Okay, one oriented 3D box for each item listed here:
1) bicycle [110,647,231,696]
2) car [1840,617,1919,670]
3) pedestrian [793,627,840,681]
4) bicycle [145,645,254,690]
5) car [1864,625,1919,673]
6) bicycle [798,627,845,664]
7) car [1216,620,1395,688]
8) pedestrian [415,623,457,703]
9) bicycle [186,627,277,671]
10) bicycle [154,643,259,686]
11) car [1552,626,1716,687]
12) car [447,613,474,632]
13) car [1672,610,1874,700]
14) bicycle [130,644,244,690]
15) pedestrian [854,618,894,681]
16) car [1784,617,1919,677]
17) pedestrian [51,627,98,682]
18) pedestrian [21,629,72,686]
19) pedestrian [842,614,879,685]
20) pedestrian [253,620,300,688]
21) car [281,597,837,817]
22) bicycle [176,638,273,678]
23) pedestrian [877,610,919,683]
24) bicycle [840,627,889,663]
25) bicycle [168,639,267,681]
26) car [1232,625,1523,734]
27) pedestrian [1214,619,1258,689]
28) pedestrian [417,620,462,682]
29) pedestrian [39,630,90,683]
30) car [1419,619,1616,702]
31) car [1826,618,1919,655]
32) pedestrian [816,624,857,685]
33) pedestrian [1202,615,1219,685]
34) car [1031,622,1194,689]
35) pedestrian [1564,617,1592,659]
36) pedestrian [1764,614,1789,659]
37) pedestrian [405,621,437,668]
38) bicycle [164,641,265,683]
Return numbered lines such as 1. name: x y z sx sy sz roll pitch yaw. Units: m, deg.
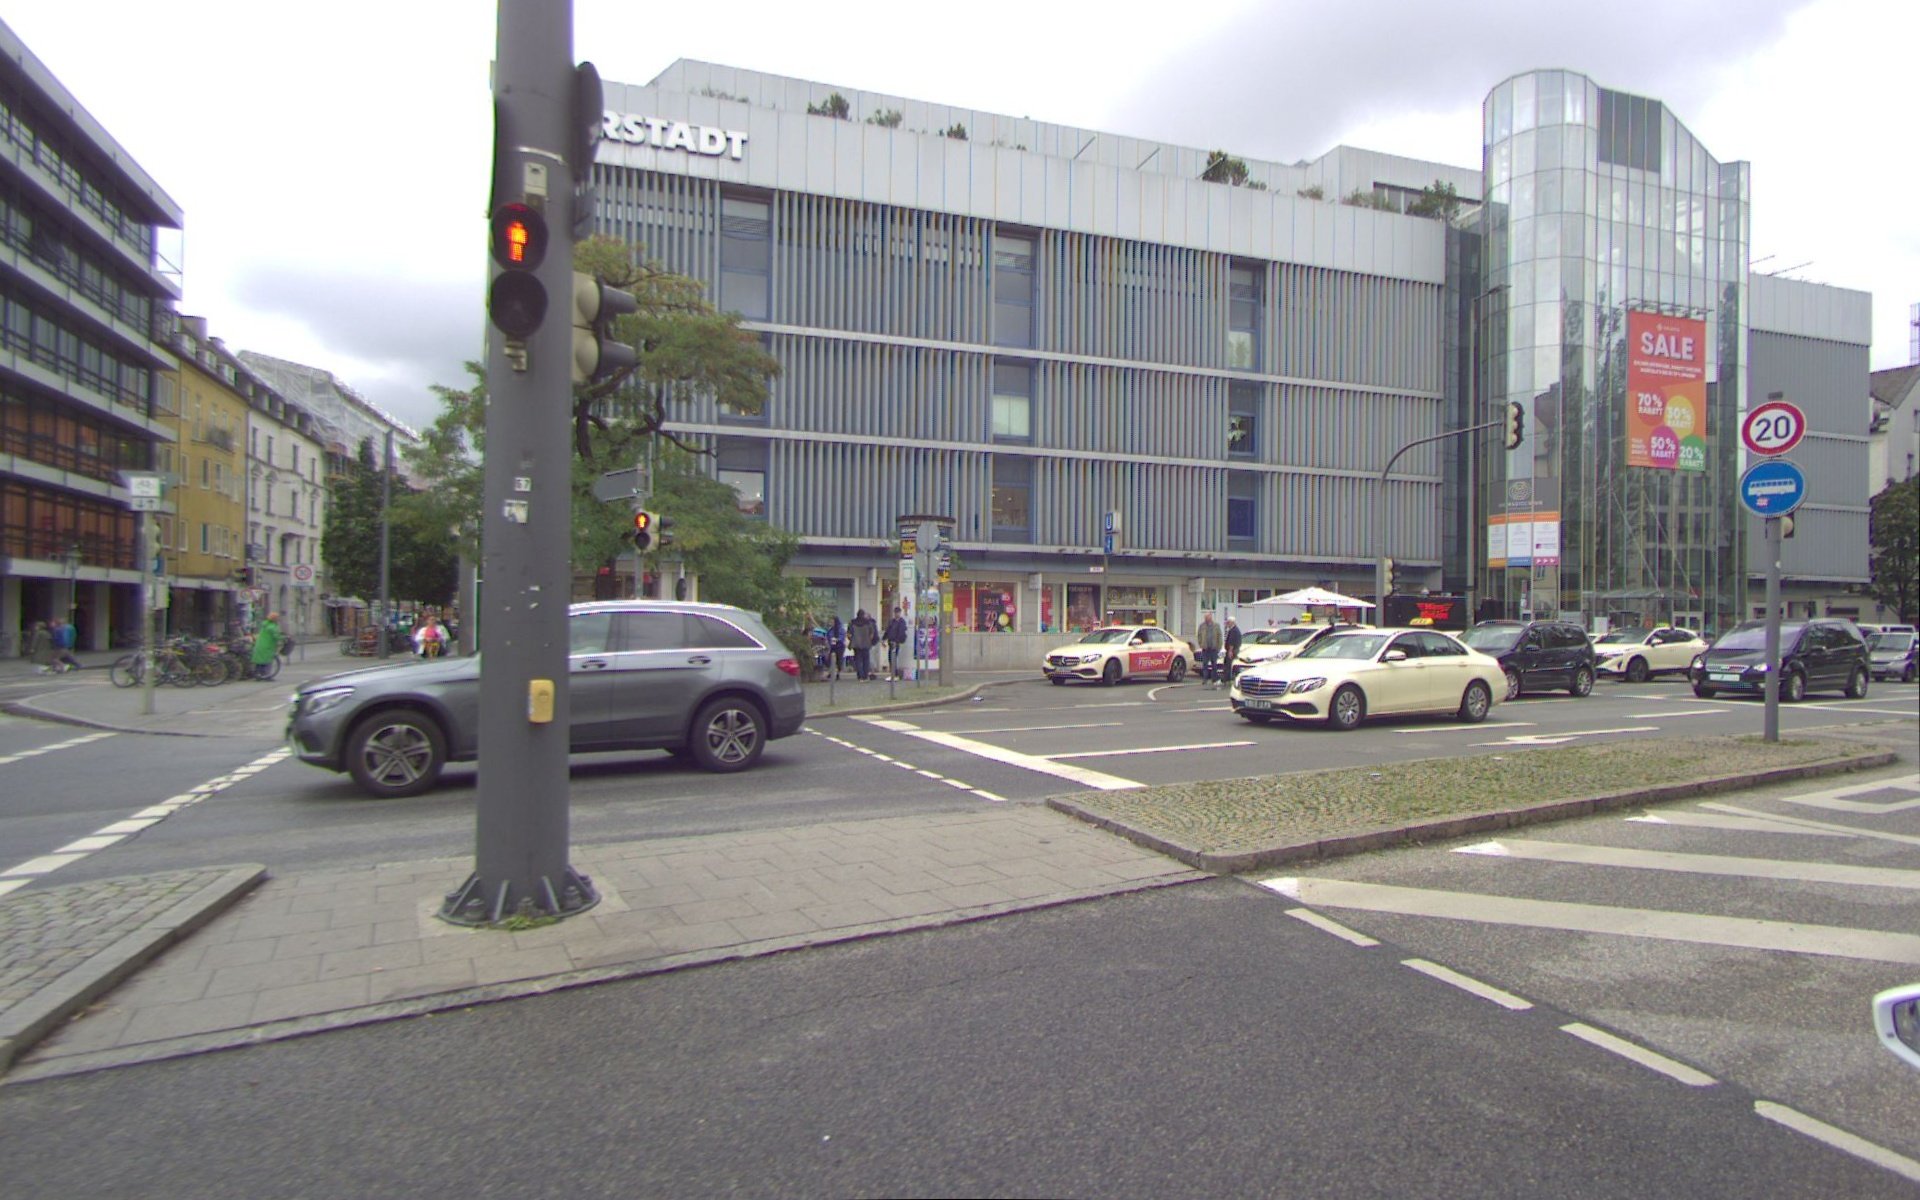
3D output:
1. bicycle: -17.202 1.566 21.938 1.963 1.011 0.524 3 -2 -30
2. car: 29.272 1.313 31.321 3.339 1.572 1.619 1 -1 -26
3. pedestrian: -3.553 1.327 24.866 1.032 1.292 0.542 1 -1 -30
4. bicycle: -18.039 1.607 23.877 1.963 1.011 0.524 3 -2 -30
5. car: 37.509 1.906 39.037 4.474 1.677 1.986 1 2 -27
6. bicycle: -4.786 1.523 34.488 1.043 1.172 3.492 1 -1 -17
7. car: 8.681 1.296 25.174 4.340 1.563 1.892 1 -1 -30
8. pedestrian: -10.692 1.273 20.485 0.712 1.595 0.635 1 -1 -31
9. bicycle: -19.553 1.332 27.011 1.872 1.126 0.582 3 -2 -30
10. bicycle: -18.399 1.587 24.571 1.963 1.011 0.524 3 -2 -30
11. car: 20.222 1.673 30.170 4.117 1.701 1.992 1 -1 -18
12. car: -48.485 2.174 97.609 1.932 1.774 3.980 0 -1 -21
13. car: 17.691 1.123 21.817 4.533 1.762 1.927 1 -1 -30
14. bicycle: -17.610 1.538 22.942 1.963 1.011 0.524 3 -2 -30
15. pedestrian: -2.198 1.260 25.719 0.744 1.575 0.765 1 -1 -34
16. car: 32.688 1.658 36.667 5.450 2.040 1.987 0 -1 -27
17. pedestrian: -27.882 1.702 31.648 0.839 1.676 0.799 0 -1 -19
18. pedestrian: -27.365 1.704 30.103 0.845 1.664 0.786 0 -1 -19
19. pedestrian: -2.387 1.177 24.083 0.740 1.676 0.769 0 -1 -19
20. pedestrian: -16.887 1.321 24.823 0.830 1.640 0.804 0 -1 45
21. car: -3.690 0.888 9.723 4.679 1.692 1.734 1 -3 -32
22. bicycle: -19.331 1.535 26.444 1.963 1.011 0.524 3 -2 -30
23. pedestrian: -1.559 1.159 25.199 0.739 1.797 0.770 0 -1 36
24. bicycle: -3.372 1.556 35.093 1.043 1.172 3.492 1 -1 -17
25. bicycle: -19.083 1.550 25.863 1.963 1.011 0.524 3 -2 -30
26. car: 6.504 1.125 15.501 4.584 1.440 1.757 1 -1 -30
27. pedestrian: 6.824 1.324 24.885 0.741 1.713 0.768 0 -1 -25
28. pedestrian: -14.746 1.425 28.476 0.775 1.710 0.860 0 -1 33
29. pedestrian: -27.577 1.720 30.940 0.934 1.609 0.739 0 -1 -19
30. car: 12.102 1.232 21.778 4.206 1.635 1.831 1 -1 -29
31. car: 45.737 1.805 50.314 4.180 1.795 1.866 1 -1 -22
32. pedestrian: -3.116 1.360 25.316 0.737 1.513 0.772 0 -1 25
33. pedestrian: 6.442 1.270 25.819 0.348 1.783 0.447 0 -1 5
34. car: 3.973 1.338 25.671 1.973 1.556 4.387 -1 -1 44
35. pedestrian: 25.161 1.539 40.900 0.700 1.714 0.651 0 -1 -18
36. pedestrian: 33.777 1.513 41.568 0.618 1.842 0.557 0 -1 -19
37. pedestrian: -19.158 1.571 35.708 0.839 1.676 0.799 1 -1 -19
38. bicycle: -18.779 1.566 25.351 1.963 1.011 0.524 3 -2 -30
